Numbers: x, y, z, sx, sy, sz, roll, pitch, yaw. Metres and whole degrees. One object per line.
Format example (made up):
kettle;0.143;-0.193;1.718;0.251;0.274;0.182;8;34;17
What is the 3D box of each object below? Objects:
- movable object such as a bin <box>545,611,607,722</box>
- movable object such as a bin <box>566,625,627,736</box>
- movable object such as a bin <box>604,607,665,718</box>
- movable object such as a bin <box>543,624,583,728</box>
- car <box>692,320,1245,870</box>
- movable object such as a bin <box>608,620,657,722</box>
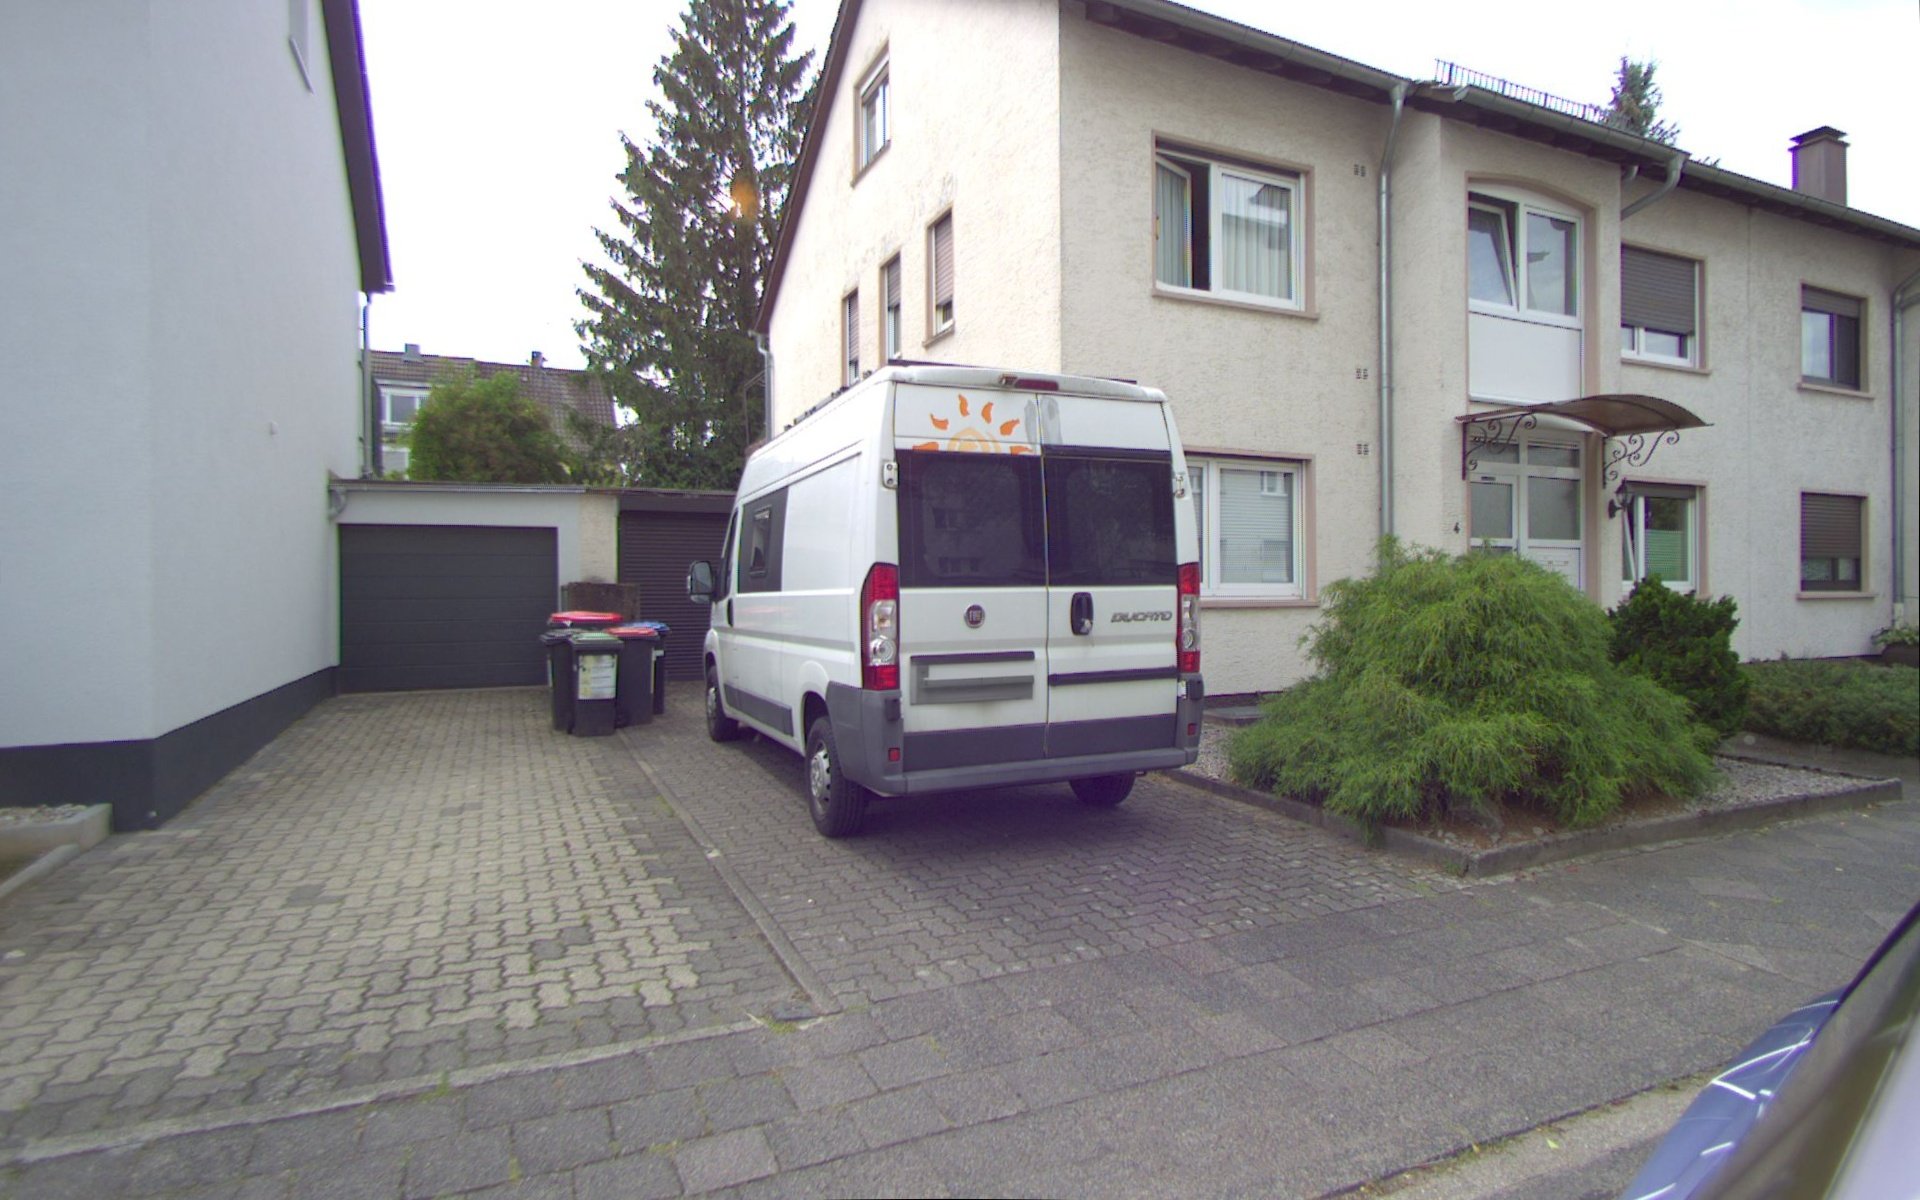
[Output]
movable object such as a bin;-3.848;0.646;10.134;0.535;1.044;0.457;-1;2;-25
movable object such as a bin;-3.328;0.721;9.258;0.472;0.937;0.522;-1;2;-25
movable object such as a bin;-3.344;0.626;10.377;0.535;1.069;0.457;-1;2;-25
movable object such as a bin;-3.775;0.708;9.617;0.331;0.937;0.356;-1;2;-25
car;-0.454;-0.099;7.525;2.191;2.573;5.115;0;2;-24
movable object such as a bin;-3.196;0.676;9.866;0.394;0.937;0.451;-1;2;-25
